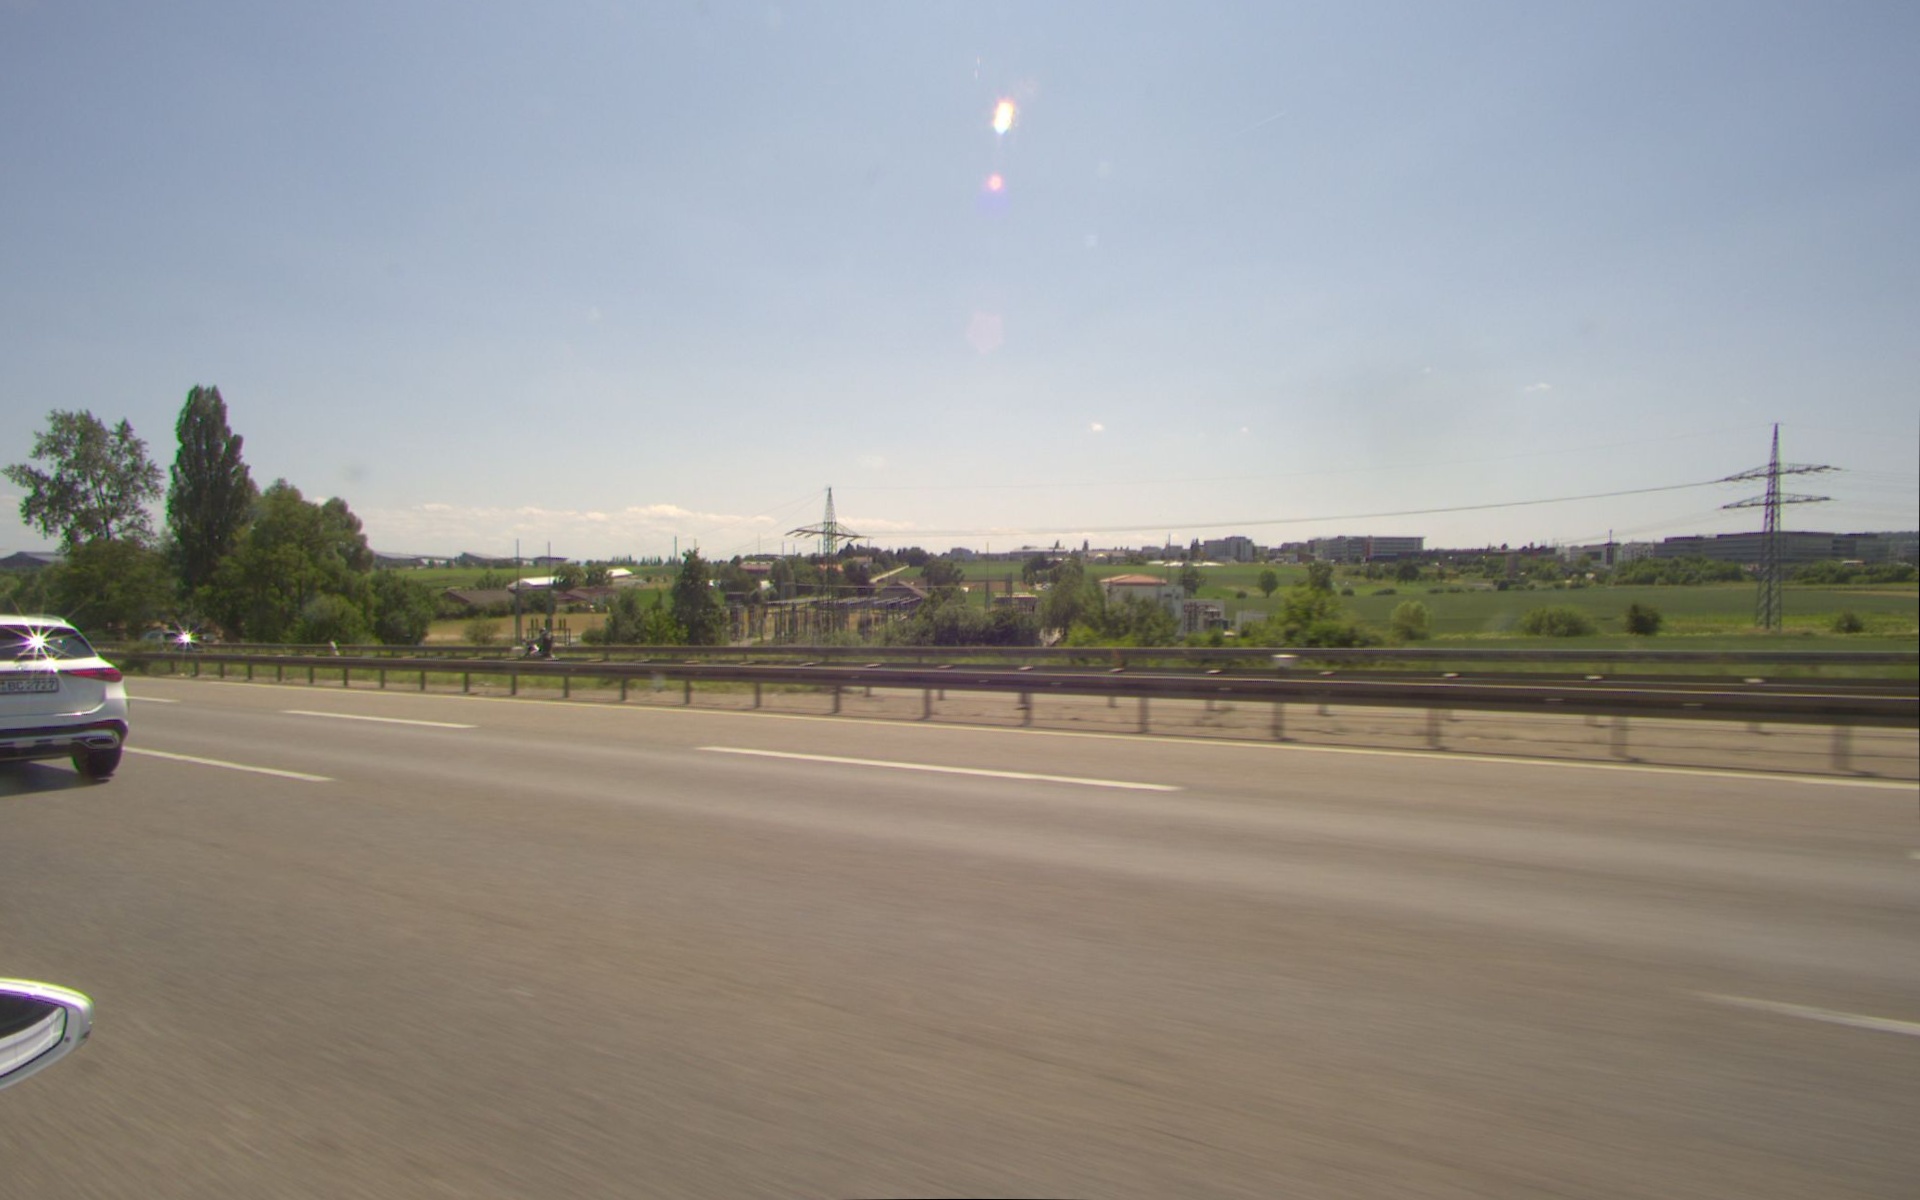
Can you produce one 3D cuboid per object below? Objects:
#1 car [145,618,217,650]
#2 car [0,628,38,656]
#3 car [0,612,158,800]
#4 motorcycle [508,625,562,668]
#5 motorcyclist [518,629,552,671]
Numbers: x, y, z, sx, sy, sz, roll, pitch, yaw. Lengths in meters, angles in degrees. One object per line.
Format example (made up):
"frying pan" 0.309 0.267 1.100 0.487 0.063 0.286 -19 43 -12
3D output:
"car" -40.313 1.735 51.777 4.069 1.595 1.696 -1 -1 33
"car" -68.150 2.968 71.895 4.121 1.948 1.934 -1 -1 34
"car" -10.506 0.991 10.410 4.927 1.668 1.895 -1 -1 32
"motorcycle" -14.299 1.552 33.671 1.842 1.384 0.759 -1 -1 31
"motorcyclist" -14.281 1.666 33.658 0.866 1.384 0.667 -1 -1 32
